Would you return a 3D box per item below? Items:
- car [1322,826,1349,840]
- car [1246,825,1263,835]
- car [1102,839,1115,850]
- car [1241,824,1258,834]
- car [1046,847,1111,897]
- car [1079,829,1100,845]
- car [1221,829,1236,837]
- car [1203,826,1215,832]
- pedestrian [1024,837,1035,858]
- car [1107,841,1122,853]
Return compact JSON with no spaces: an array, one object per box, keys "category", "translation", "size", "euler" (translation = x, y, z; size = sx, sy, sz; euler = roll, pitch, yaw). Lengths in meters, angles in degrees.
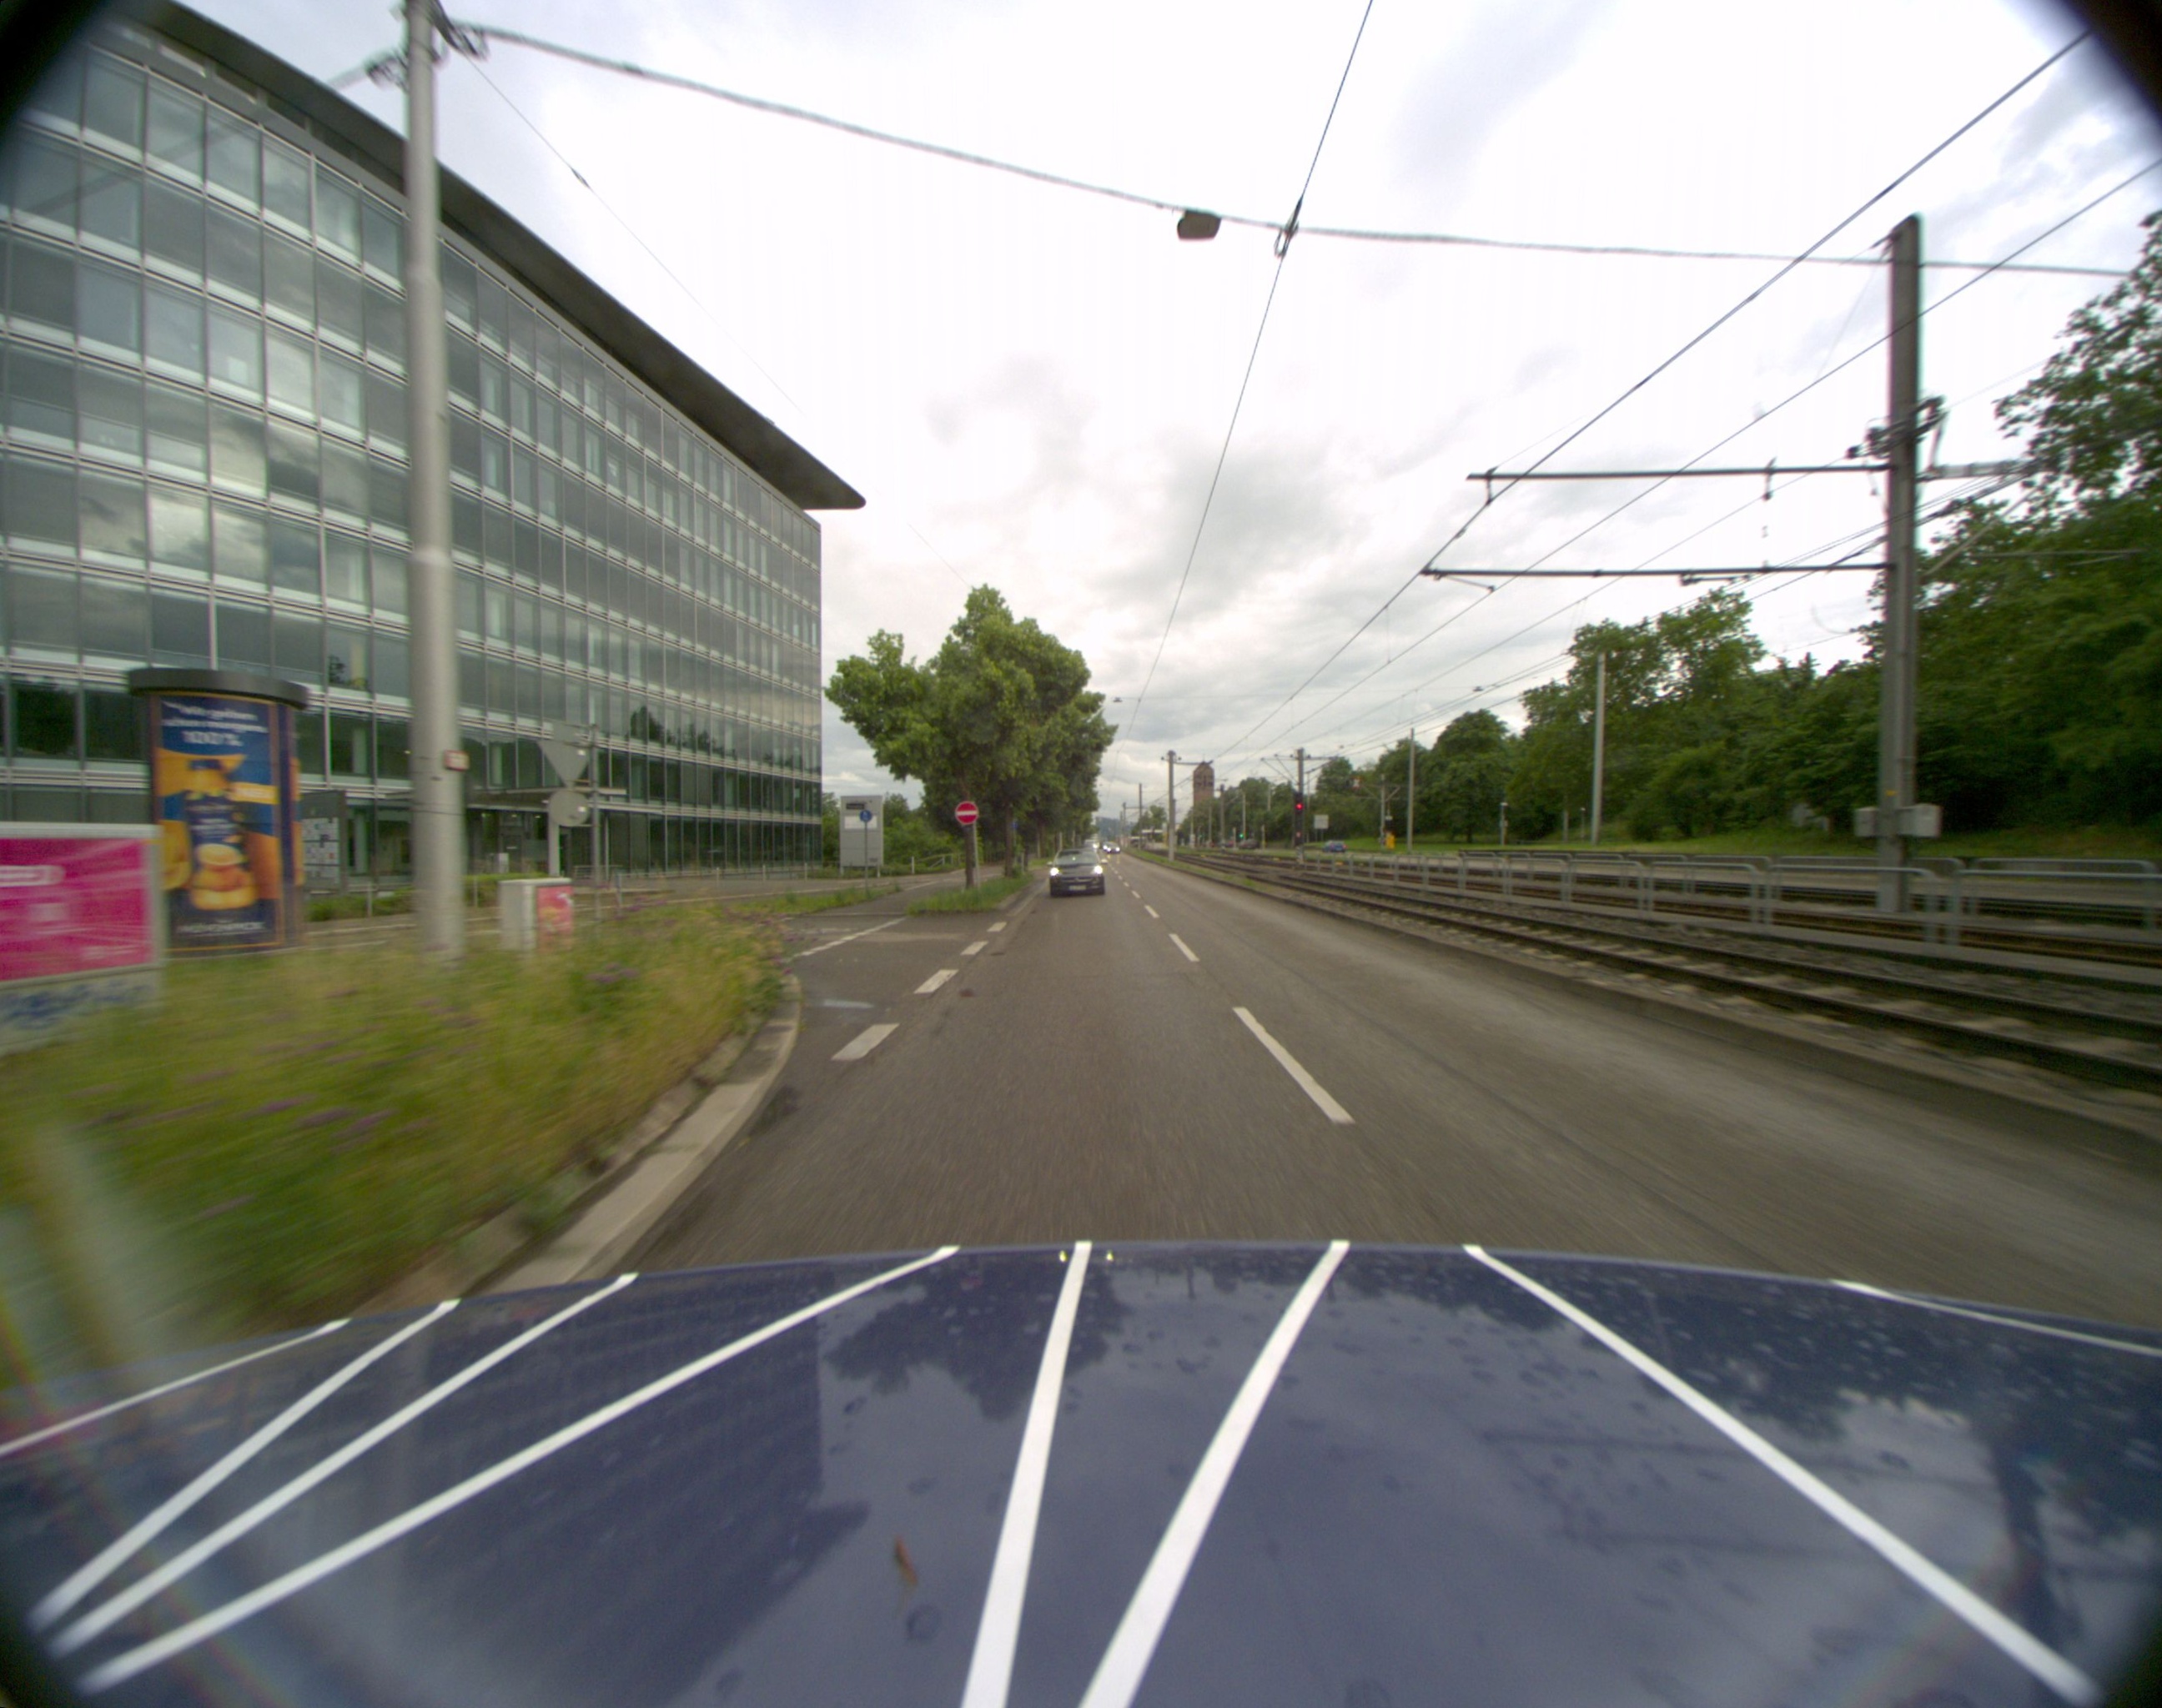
[{"category":"car","translation":[27.102,-2.268,80.988],"size":[1.765,1.390,3.900],"euler":[0,2,4]},{"category":"car","translation":[28.468,-3.986,124.525],"size":[1.952,1.586,4.847],"euler":[0,2,4]},{"category":"car","translation":[4.301,-1.541,119.348],"size":[1.812,1.566,3.970],"euler":[-2,2,1]},{"category":"car","translation":[25.668,-3.797,115.800],"size":[1.895,1.478,4.308],"euler":[0,2,4]},{"category":"car","translation":[-0.019,0.523,24.879],"size":[1.899,1.433,4.473],"euler":[-1,1,1]},{"category":"car","translation":[0.848,-1.726,76.565],"size":[1.998,1.609,3.999],"euler":[-1,2,1]},{"category":"car","translation":[28.988,-4.143,149.363],"size":[2.094,1.580,5.158],"euler":[0,2,3]},{"category":"car","translation":[28.817,-5.659,171.186],"size":[1.931,1.439,4.681],"euler":[0,2,1]},{"category":"pedestrian","translation":[-4.544,-0.591,66.807],"size":[0.828,1.787,0.867],"euler":[-2,3,2]},{"category":"car","translation":[4.359,-0.934,100.103],"size":[1.899,1.433,4.245],"euler":[-1,1,1]}]
